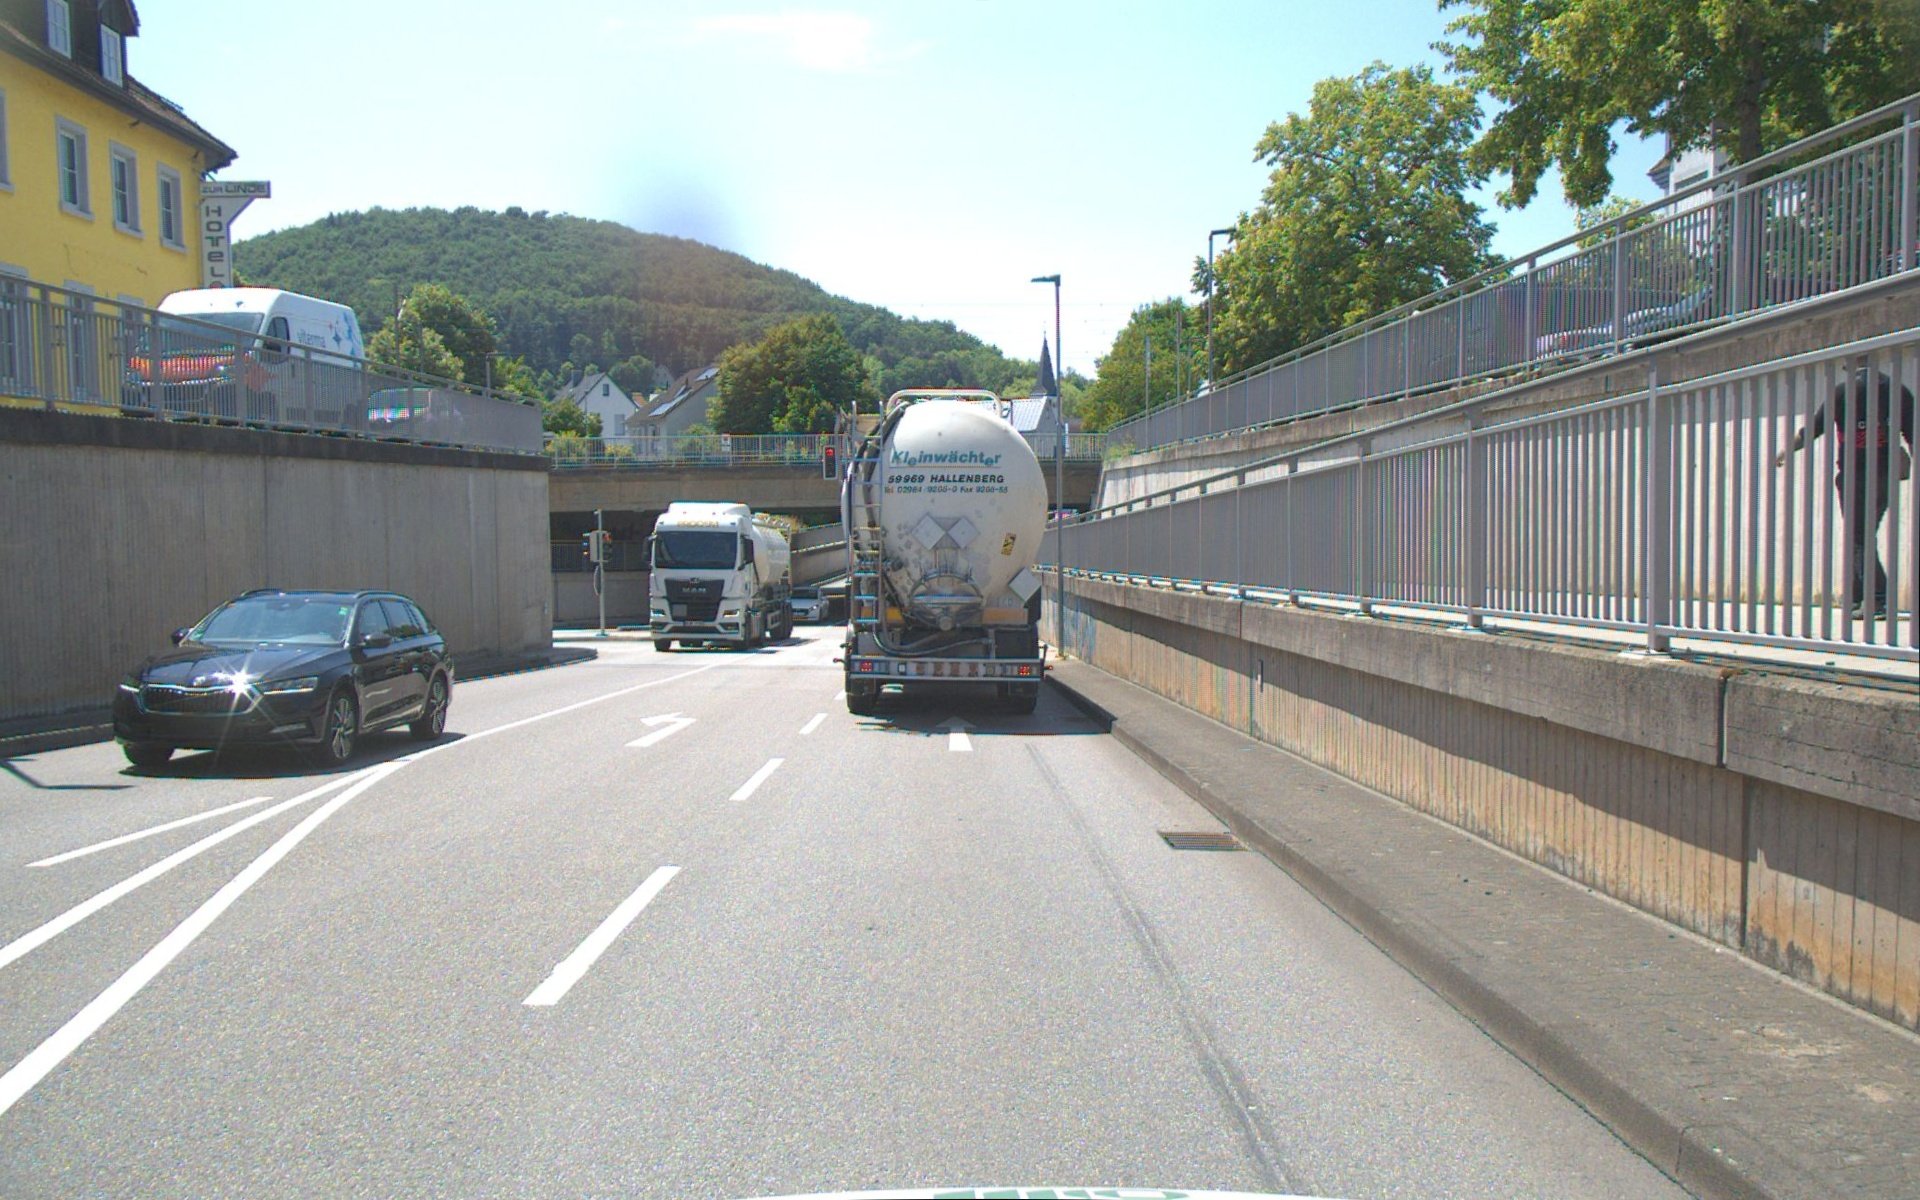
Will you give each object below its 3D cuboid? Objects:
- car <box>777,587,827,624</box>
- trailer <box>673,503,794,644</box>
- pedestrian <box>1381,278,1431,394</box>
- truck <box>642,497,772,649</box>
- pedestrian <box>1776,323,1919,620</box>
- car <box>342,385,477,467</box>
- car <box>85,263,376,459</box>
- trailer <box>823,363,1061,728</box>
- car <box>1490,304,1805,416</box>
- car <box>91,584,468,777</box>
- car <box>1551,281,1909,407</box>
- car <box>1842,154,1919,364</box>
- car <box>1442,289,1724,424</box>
[{"bbox_3d":[-6.603,0.200,69.489,1.648,1.466,4.093,2,1,0],"label":"car"},{"bbox_3d":[-6.954,-0.748,52.015,2.557,4.033,9.345,0,0,0],"label":"trailer"},{"bbox_3d":[7.311,-4.317,27.105,0.659,1.810,0.594,-1,3,1],"label":"pedestrian"},{"bbox_3d":[-6.929,-0.690,46.157,2.607,3.928,6.579,0,0,0],"label":"truck"},{"bbox_3d":[5.822,-0.798,10.560,0.819,1.813,0.788,-1,1,-1],"label":"pedestrian"},{"bbox_3d":[-11.638,-3.662,35.217,1.586,1.526,4.045,1,3,-1],"label":"car"},{"bbox_3d":[-11.343,-3.621,26.282,2.023,2.580,5.664,1,3,1],"label":"car"},{"bbox_3d":[-0.260,-0.623,25.422,2.679,4.135,13.311,0,0,-1],"label":"trailer"},{"bbox_3d":[9.789,-3.414,23.753,3.825,1.391,1.687,-1,3,0],"label":"car"},{"bbox_3d":[-6.005,0.629,15.202,1.725,1.515,4.367,0,0,-1],"label":"car"},{"bbox_3d":[9.831,-3.270,21.314,3.825,1.391,1.687,-1,3,0],"label":"car"},{"bbox_3d":[9.992,-2.924,14.029,4.118,1.623,1.687,-1,3,0],"label":"car"},{"bbox_3d":[9.787,-3.817,26.185,3.825,1.917,1.687,-1,3,0],"label":"car"}]
